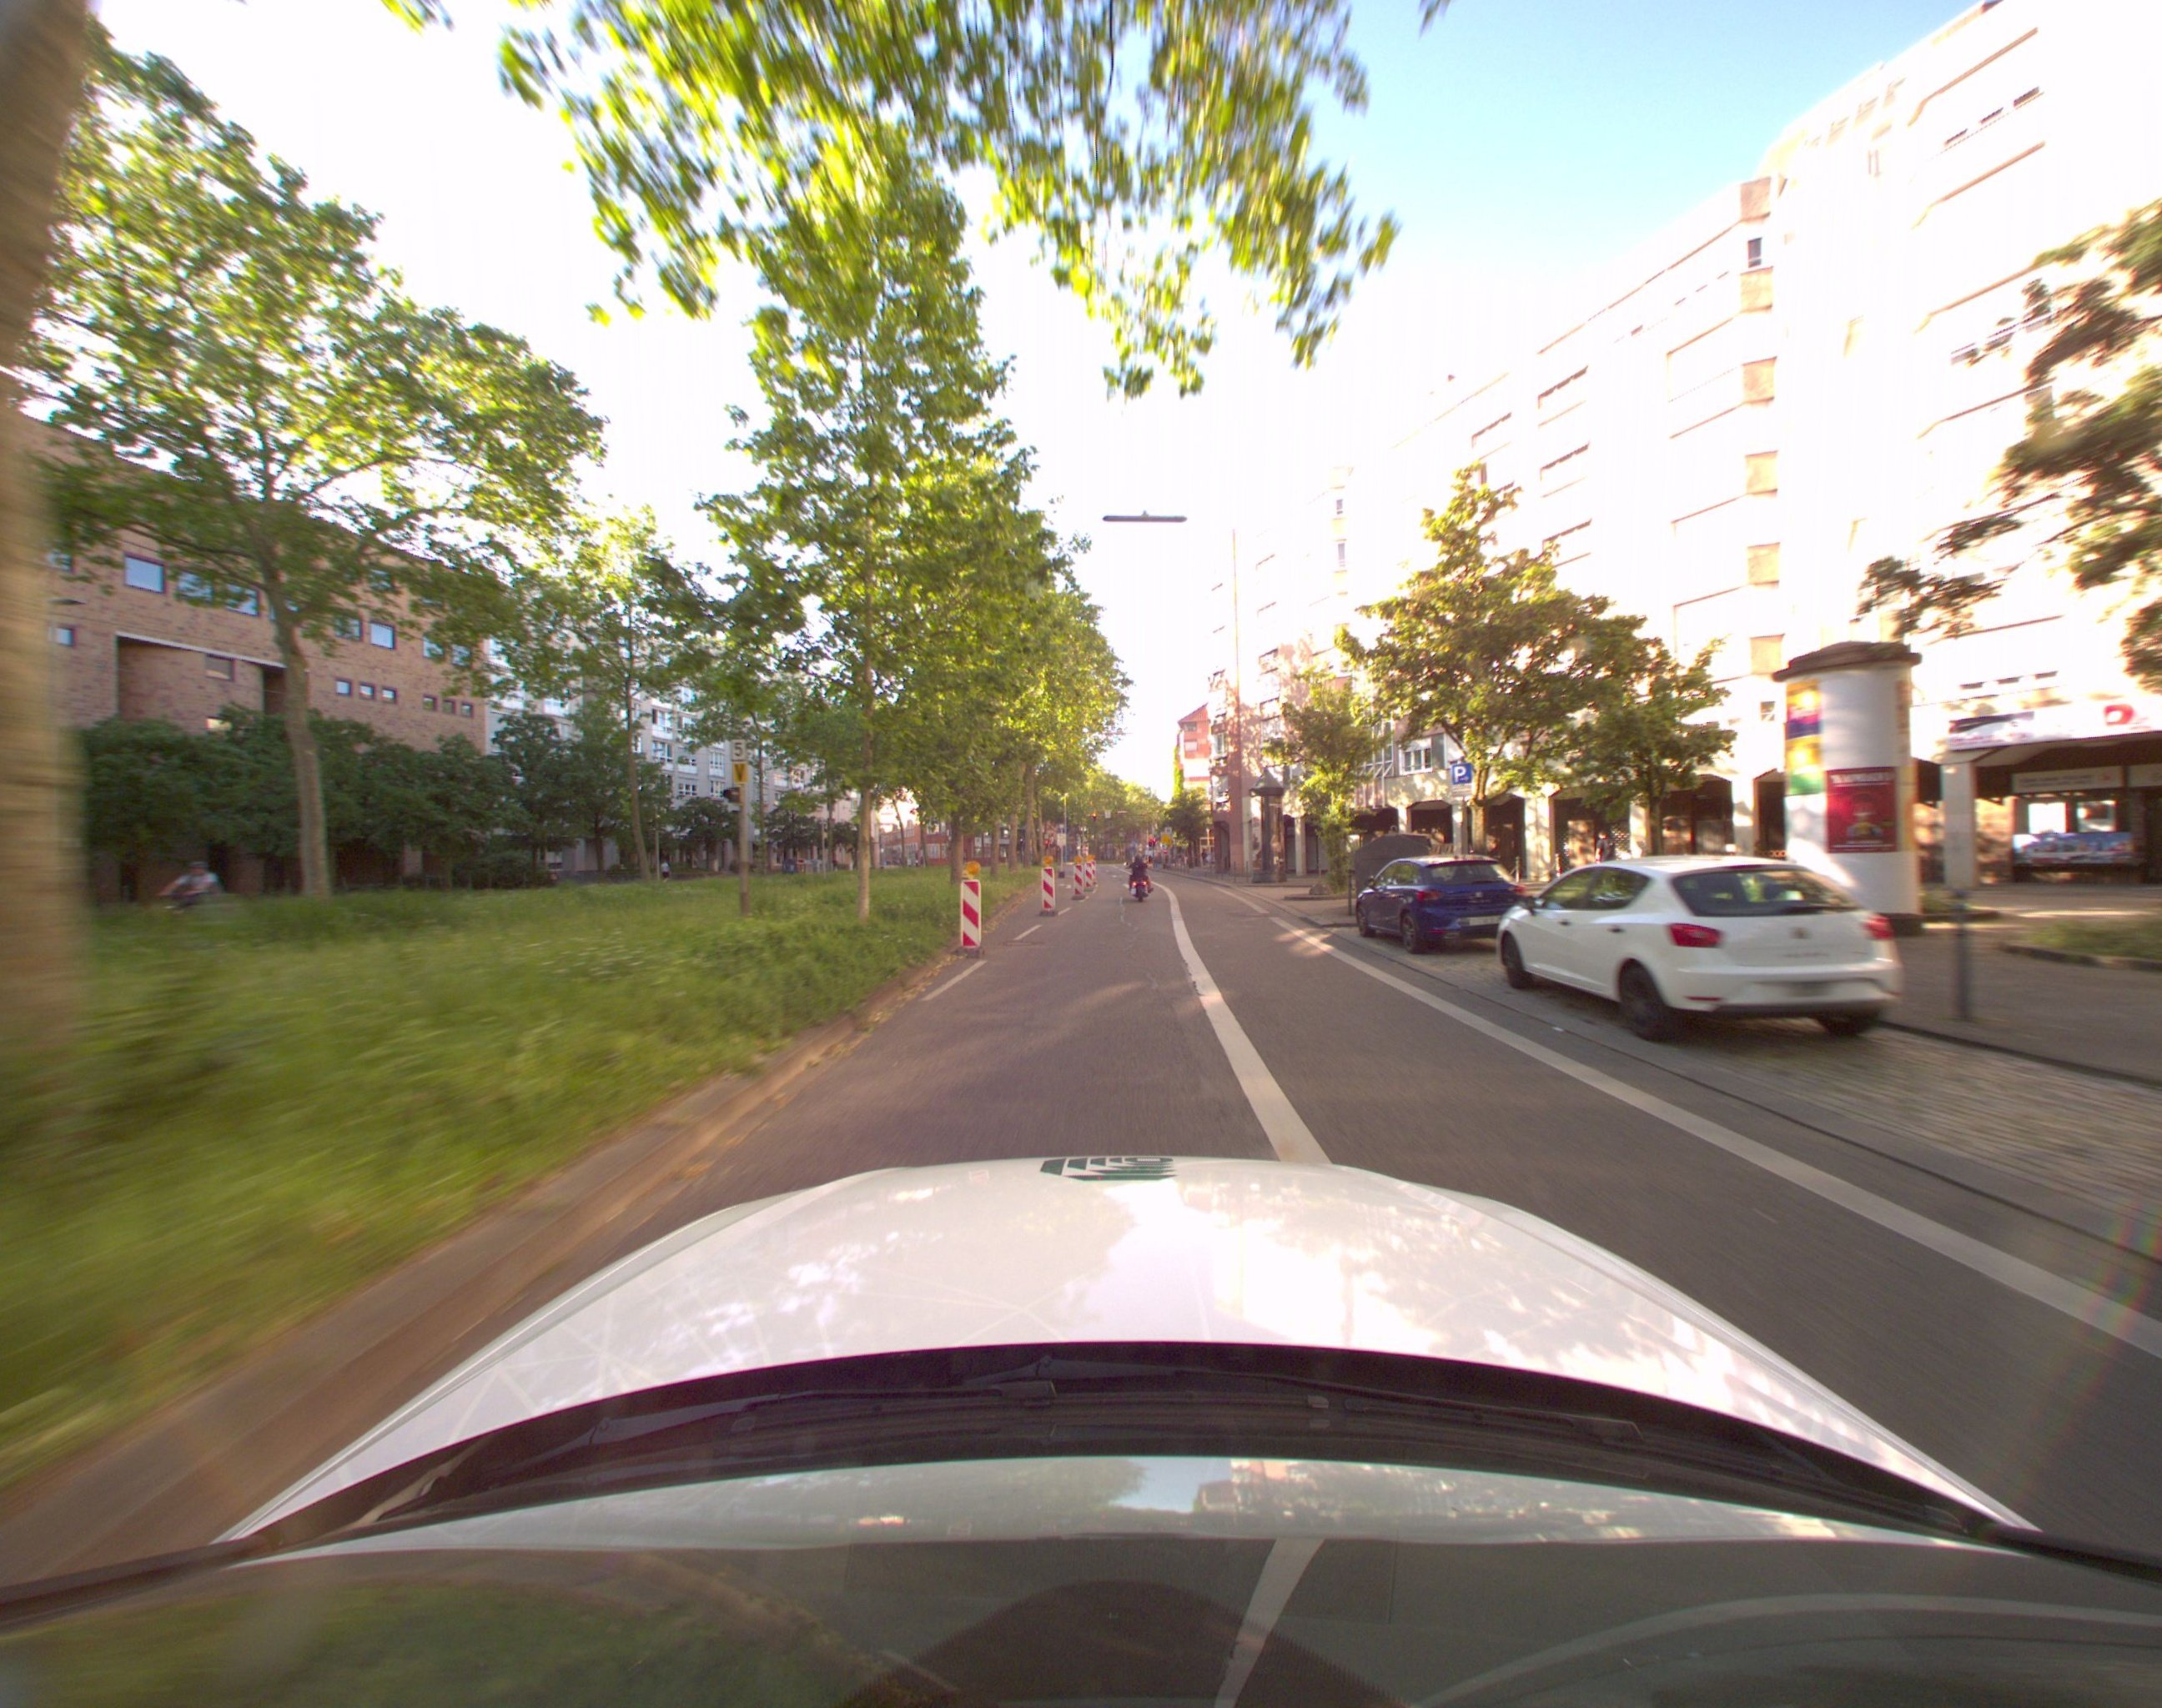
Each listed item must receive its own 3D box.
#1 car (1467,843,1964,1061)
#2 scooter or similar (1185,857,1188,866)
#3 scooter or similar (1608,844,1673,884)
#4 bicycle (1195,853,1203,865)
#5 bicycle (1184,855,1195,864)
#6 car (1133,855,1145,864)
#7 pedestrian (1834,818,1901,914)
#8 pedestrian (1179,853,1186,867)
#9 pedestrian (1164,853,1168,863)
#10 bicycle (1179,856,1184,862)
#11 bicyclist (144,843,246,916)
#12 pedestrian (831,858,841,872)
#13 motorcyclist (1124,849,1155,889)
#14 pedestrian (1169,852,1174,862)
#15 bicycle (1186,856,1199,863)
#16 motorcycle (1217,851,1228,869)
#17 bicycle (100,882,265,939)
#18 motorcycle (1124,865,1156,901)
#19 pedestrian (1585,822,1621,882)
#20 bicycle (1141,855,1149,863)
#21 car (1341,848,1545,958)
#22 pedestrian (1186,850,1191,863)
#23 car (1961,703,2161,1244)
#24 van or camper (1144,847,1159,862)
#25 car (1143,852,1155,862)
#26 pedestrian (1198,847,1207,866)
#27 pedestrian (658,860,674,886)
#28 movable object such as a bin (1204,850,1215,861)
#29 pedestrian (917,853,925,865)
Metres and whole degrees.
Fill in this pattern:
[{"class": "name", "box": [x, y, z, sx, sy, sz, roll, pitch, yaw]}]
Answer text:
[{"class": "car", "box": [5.409, 0.684, 7.781, 1.694, 1.465, 4.180, -2, 0, 5]}, {"class": "scooter or similar", "box": [13.617, 1.018, 105.430, 0.392, 1.158, 1.252, -1, 0, 7]}, {"class": "scooter or similar", "box": [16.376, 0.292, 23.857, 1.447, 1.145, 0.560, -1, 0, 6]}, {"class": "bicycle", "box": [12.234, 0.531, 84.201, 0.617, 1.225, 1.933, -1, 0, 13]}, {"class": "bicycle", "box": [15.365, 0.755, 115.400, 1.559, 1.227, 0.579, -1, 0, 6]}, {"class": "car", "box": [9.389, 0.893, 131.628, 1.610, 1.302, 4.323, -1, 0, 9]}, {"class": "pedestrian", "box": [16.744, 0.247, 17.355, 0.636, 1.981, 0.776, -1, 0, 3]}, {"class": "pedestrian", "box": [13.122, 0.749, 105.393, 0.788, 1.763, 0.606, -1, -1, -18]}, {"class": "pedestrian", "box": [14.032, 0.695, 134.570, 0.641, 1.578, 0.749, -1, 0, 4]}, {"class": "bicycle", "box": [15.264, 0.788, 123.857, 0.733, 0.939, 1.755, -1, 0, 5]}, {"class": "bicyclist", "box": [-20.035, 0.558, 18.448, 0.938, 1.571, 1.210, -1, 0, 1]}, {"class": "pedestrian", "box": [-28.145, 1.268, 93.546, 0.702, 1.639, 0.791, -1, 0, 12]}, {"class": "motorcyclist", "box": [1.935, 0.488, 26.936, 1.007, 1.263, 0.775, 1, 0, 3]}, {"class": "pedestrian", "box": [14.965, 0.502, 134.511, 0.697, 1.733, 0.768, -1, 0, 4]}, {"class": "bicycle", "box": [16.247, 0.810, 118.457, 1.730, 1.053, 0.744, -1, 0, 28]}, {"class": "motorcycle", "box": [11.360, 0.458, 65.378, 0.486, 1.372, 2.091, -1, 0, 1]}, {"class": "bicycle", "box": [-20.022, 1.219, 18.254, 0.953, 1.126, 2.436, -1, -1, 1]}, {"class": "motorcycle", "box": [1.936, 0.924, 26.878, 1.013, 1.097, 2.009, -1, 0, 3]}, {"class": "pedestrian", "box": [17.475, -0.058, 27.287, 0.809, 1.981, 0.852, -1, 0, 18]}, {"class": "bicycle", "box": [9.757, 0.765, 124.443, 0.736, 1.053, 1.747, -1, 0, -8]}, {"class": "car", "box": [5.762, 0.688, 13.579, 1.694, 1.483, 4.252, -2, 0, 4]}, {"class": "pedestrian", "box": [13.952, 0.378, 105.621, 0.458, 1.672, 0.678, -1, 0, -7]}, {"class": "car", "box": [4.893, 0.387, 0.942, 2.031, 1.943, 5.196, -3, 0, -1]}, {"class": "van or camper", "box": [12.773, 0.132, 147.562, 2.036, 2.540, 5.790, -1, 0, 11]}, {"class": "car", "box": [11.822, 0.560, 141.113, 1.610, 1.619, 4.498, -1, 0, 10]}, {"class": "pedestrian", "box": [11.383, 0.222, 76.359, 0.776, 1.738, 0.839, -1, 0, 9]}, {"class": "pedestrian", "box": [-28.745, 1.301, 56.429, 0.725, 1.740, 0.649, -1, 0, 4]}, {"class": "movable object such as a bin", "box": [17.762, 0.202, 112.828, 1.400, 1.482, 0.874, -1, 0, 12]}, {"class": "pedestrian", "box": [-25.383, 0.821, 129.218, 0.850, 1.869, 0.754, -2, 0, 8]}]
